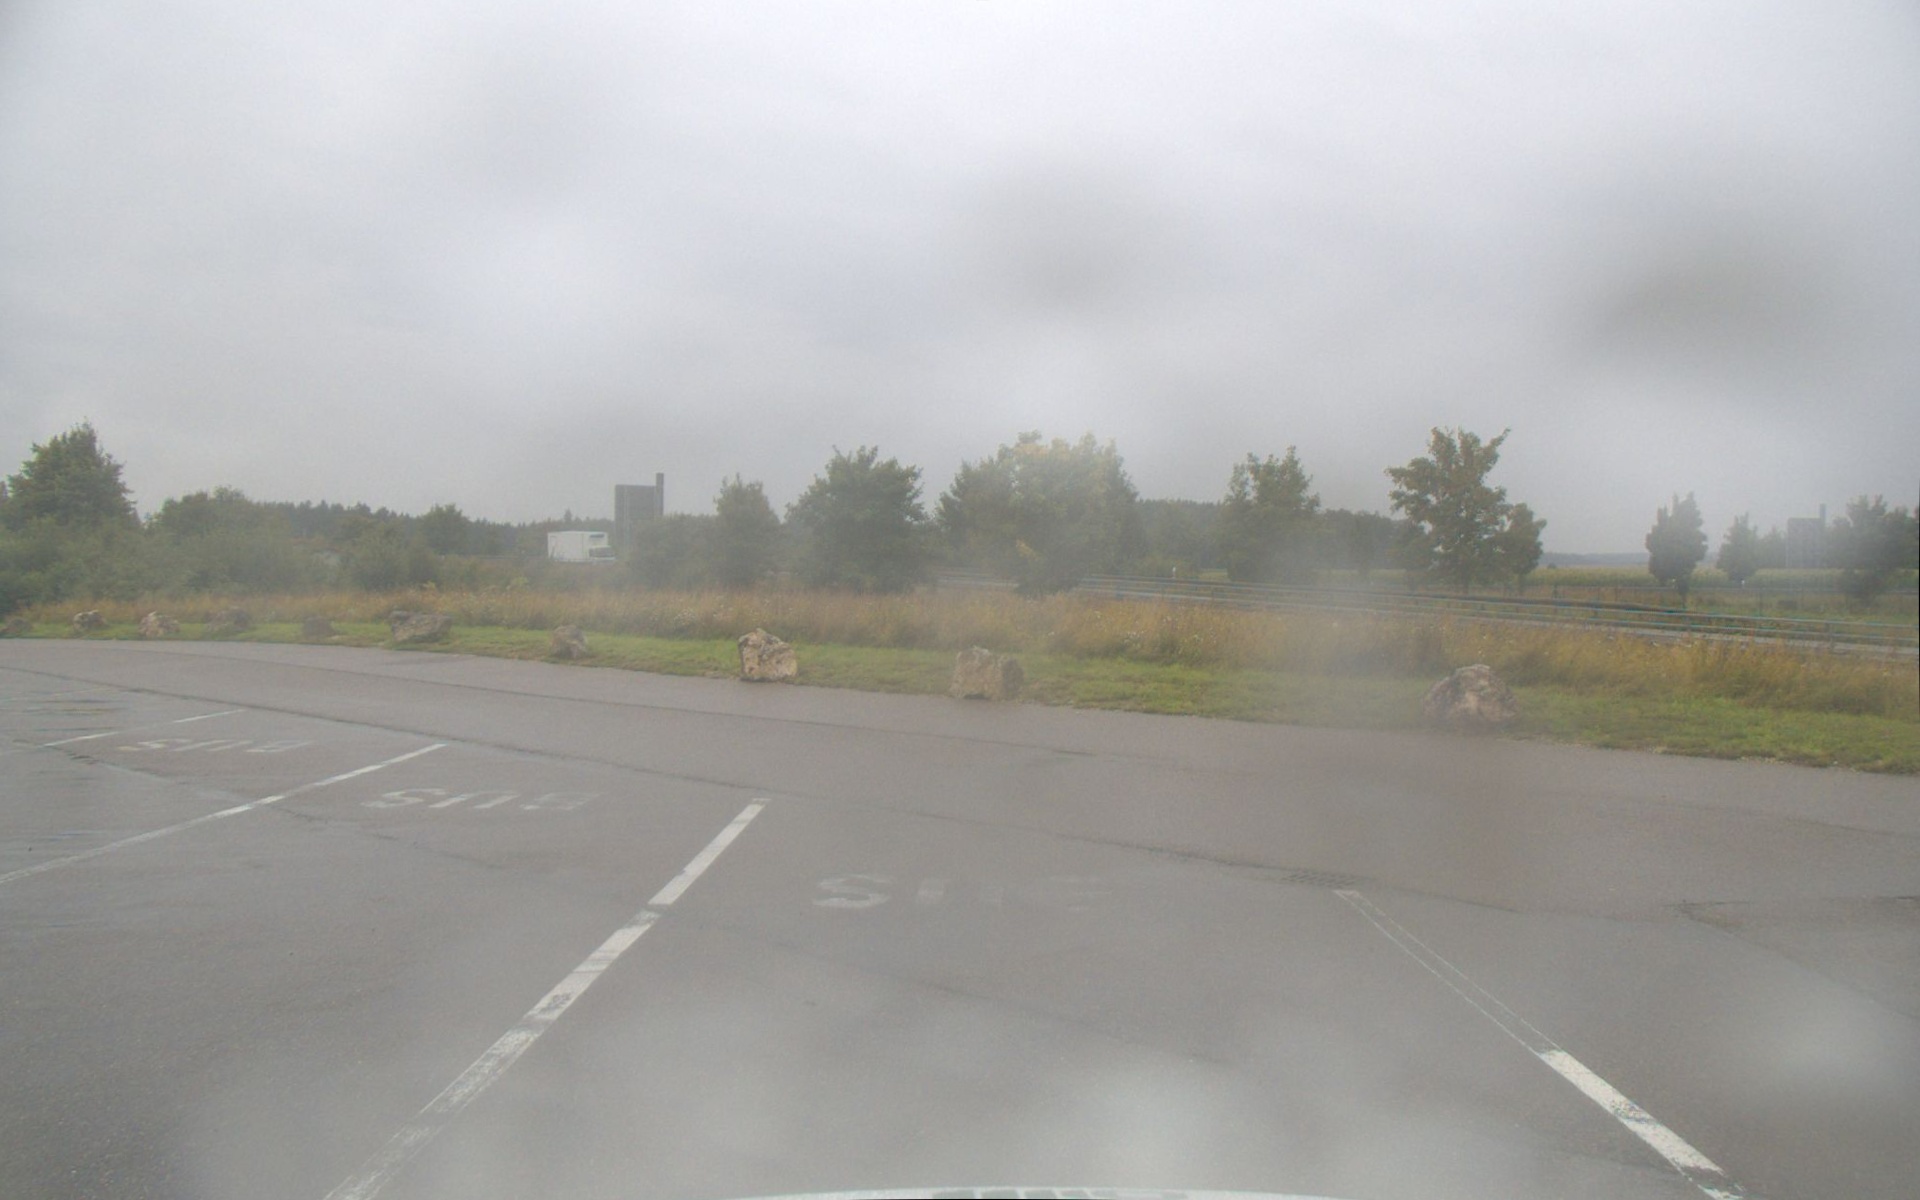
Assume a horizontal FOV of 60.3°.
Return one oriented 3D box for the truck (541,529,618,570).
[{"bbox_3d":[-33.404,-4.402,145.054,7.928,3.450,2.730,1,1,43],"label":"truck"}]
